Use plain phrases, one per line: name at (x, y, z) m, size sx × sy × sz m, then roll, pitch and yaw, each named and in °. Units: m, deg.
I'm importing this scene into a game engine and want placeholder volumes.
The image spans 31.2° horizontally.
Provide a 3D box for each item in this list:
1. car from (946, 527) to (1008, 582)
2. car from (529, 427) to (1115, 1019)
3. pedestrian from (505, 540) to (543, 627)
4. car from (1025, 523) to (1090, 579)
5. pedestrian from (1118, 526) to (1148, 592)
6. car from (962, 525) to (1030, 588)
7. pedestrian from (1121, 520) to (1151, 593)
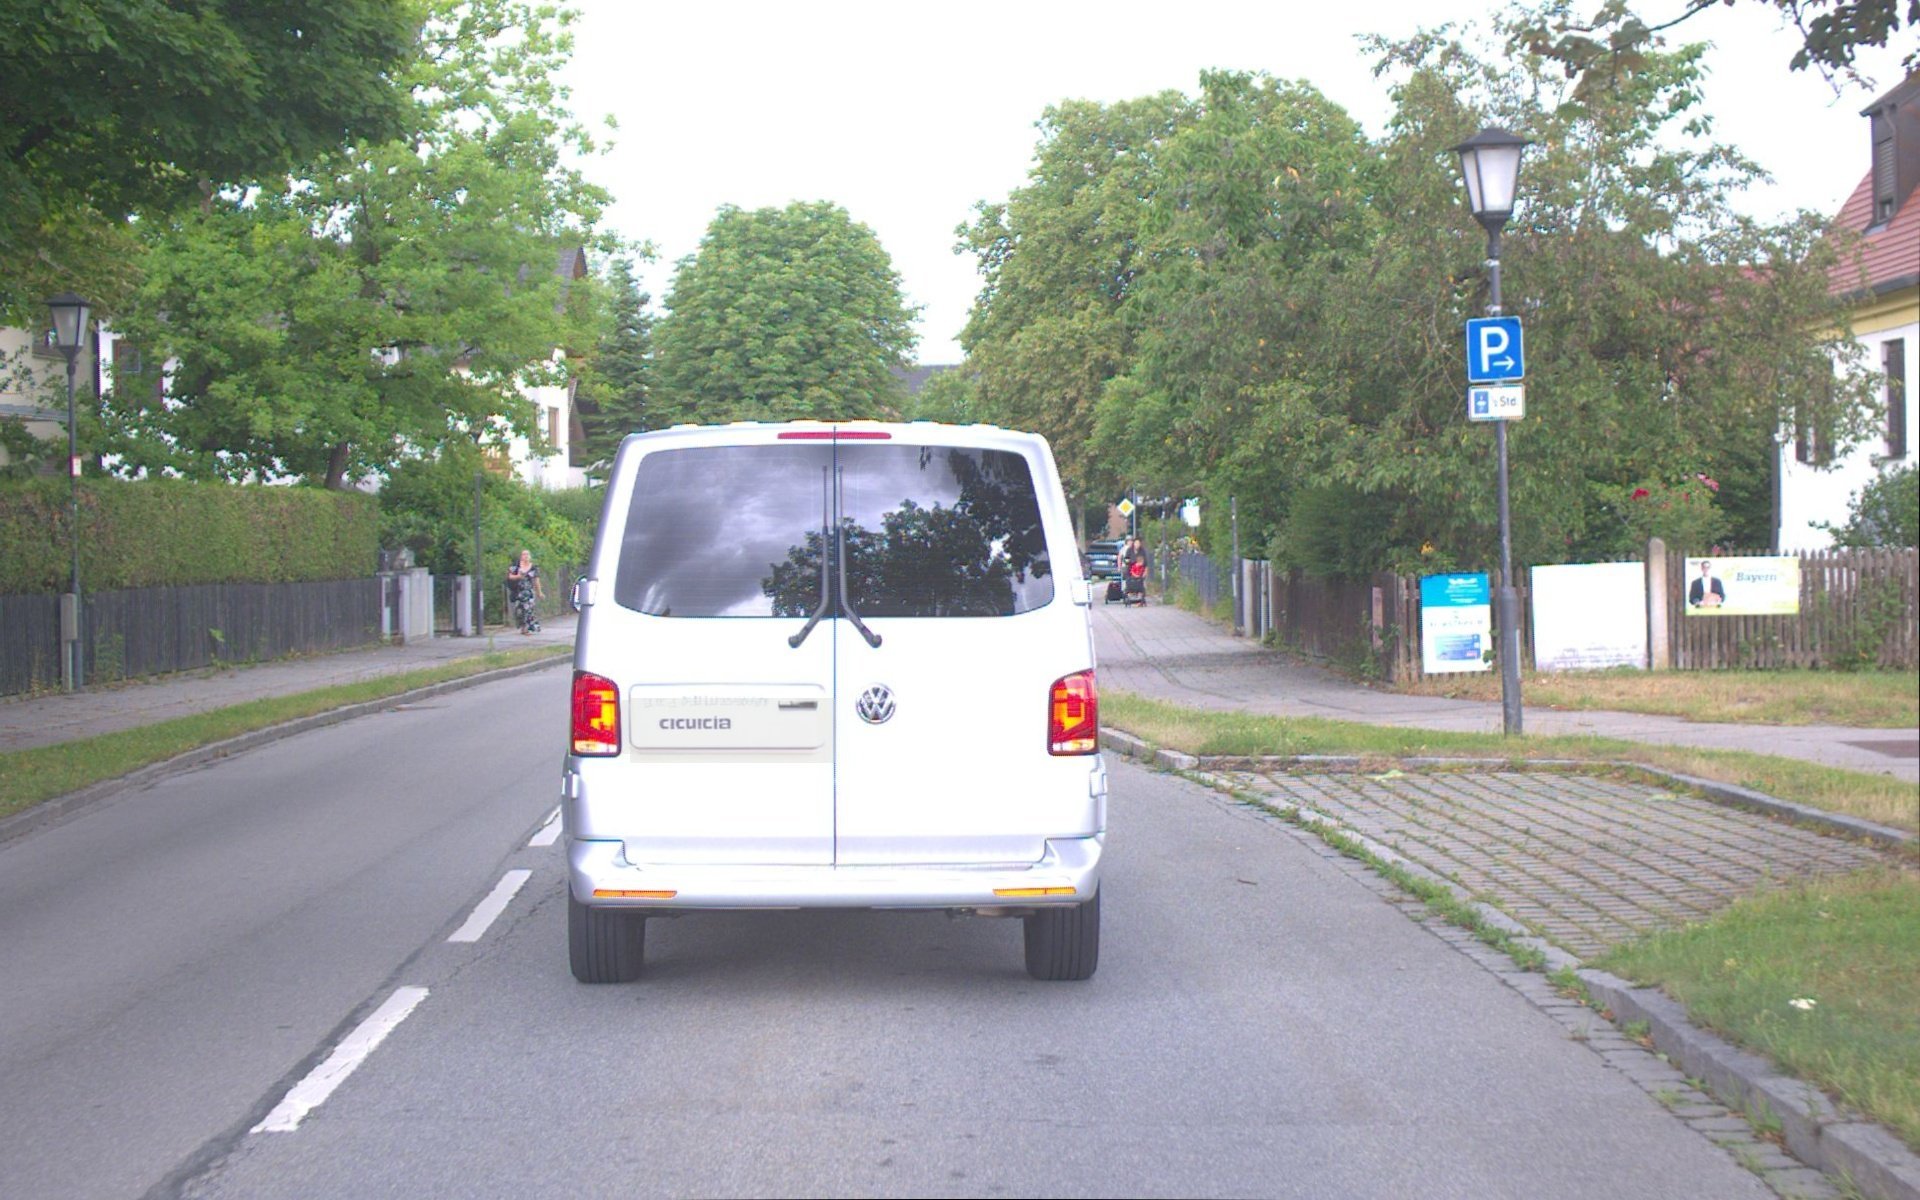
car at (0.656, -1.750, 130.556) m, size 1.994 × 2.007 × 3.999 m, roll -1°, pitch 1°, yaw 5°
car at (-0.433, 0.370, 13.093) m, size 1.888 × 1.905 × 4.000 m, roll 0°, pitch 1°, yaw 0°
pedestrian at (-7.878, -0.299, 62.075) m, size 0.622 × 1.544 × 0.522 m, roll 1°, pitch 1°, yaw -3°
car at (3.632, -1.820, 127.586) m, size 1.994 × 2.007 × 3.999 m, roll -1°, pitch 1°, yaw 8°
pedestrian at (4.048, -0.966, 80.501) m, size 0.622 × 1.518 × 0.579 m, roll 1°, pitch 1°, yaw -3°
car at (1.205, -1.454, 113.380) m, size 1.994 × 2.007 × 4.000 m, roll -1°, pitch 1°, yaw 4°
pedestrian at (3.773, -0.927, 73.706) m, size 0.551 × 1.544 × 0.612 m, roll 1°, pitch 1°, yaw -3°
